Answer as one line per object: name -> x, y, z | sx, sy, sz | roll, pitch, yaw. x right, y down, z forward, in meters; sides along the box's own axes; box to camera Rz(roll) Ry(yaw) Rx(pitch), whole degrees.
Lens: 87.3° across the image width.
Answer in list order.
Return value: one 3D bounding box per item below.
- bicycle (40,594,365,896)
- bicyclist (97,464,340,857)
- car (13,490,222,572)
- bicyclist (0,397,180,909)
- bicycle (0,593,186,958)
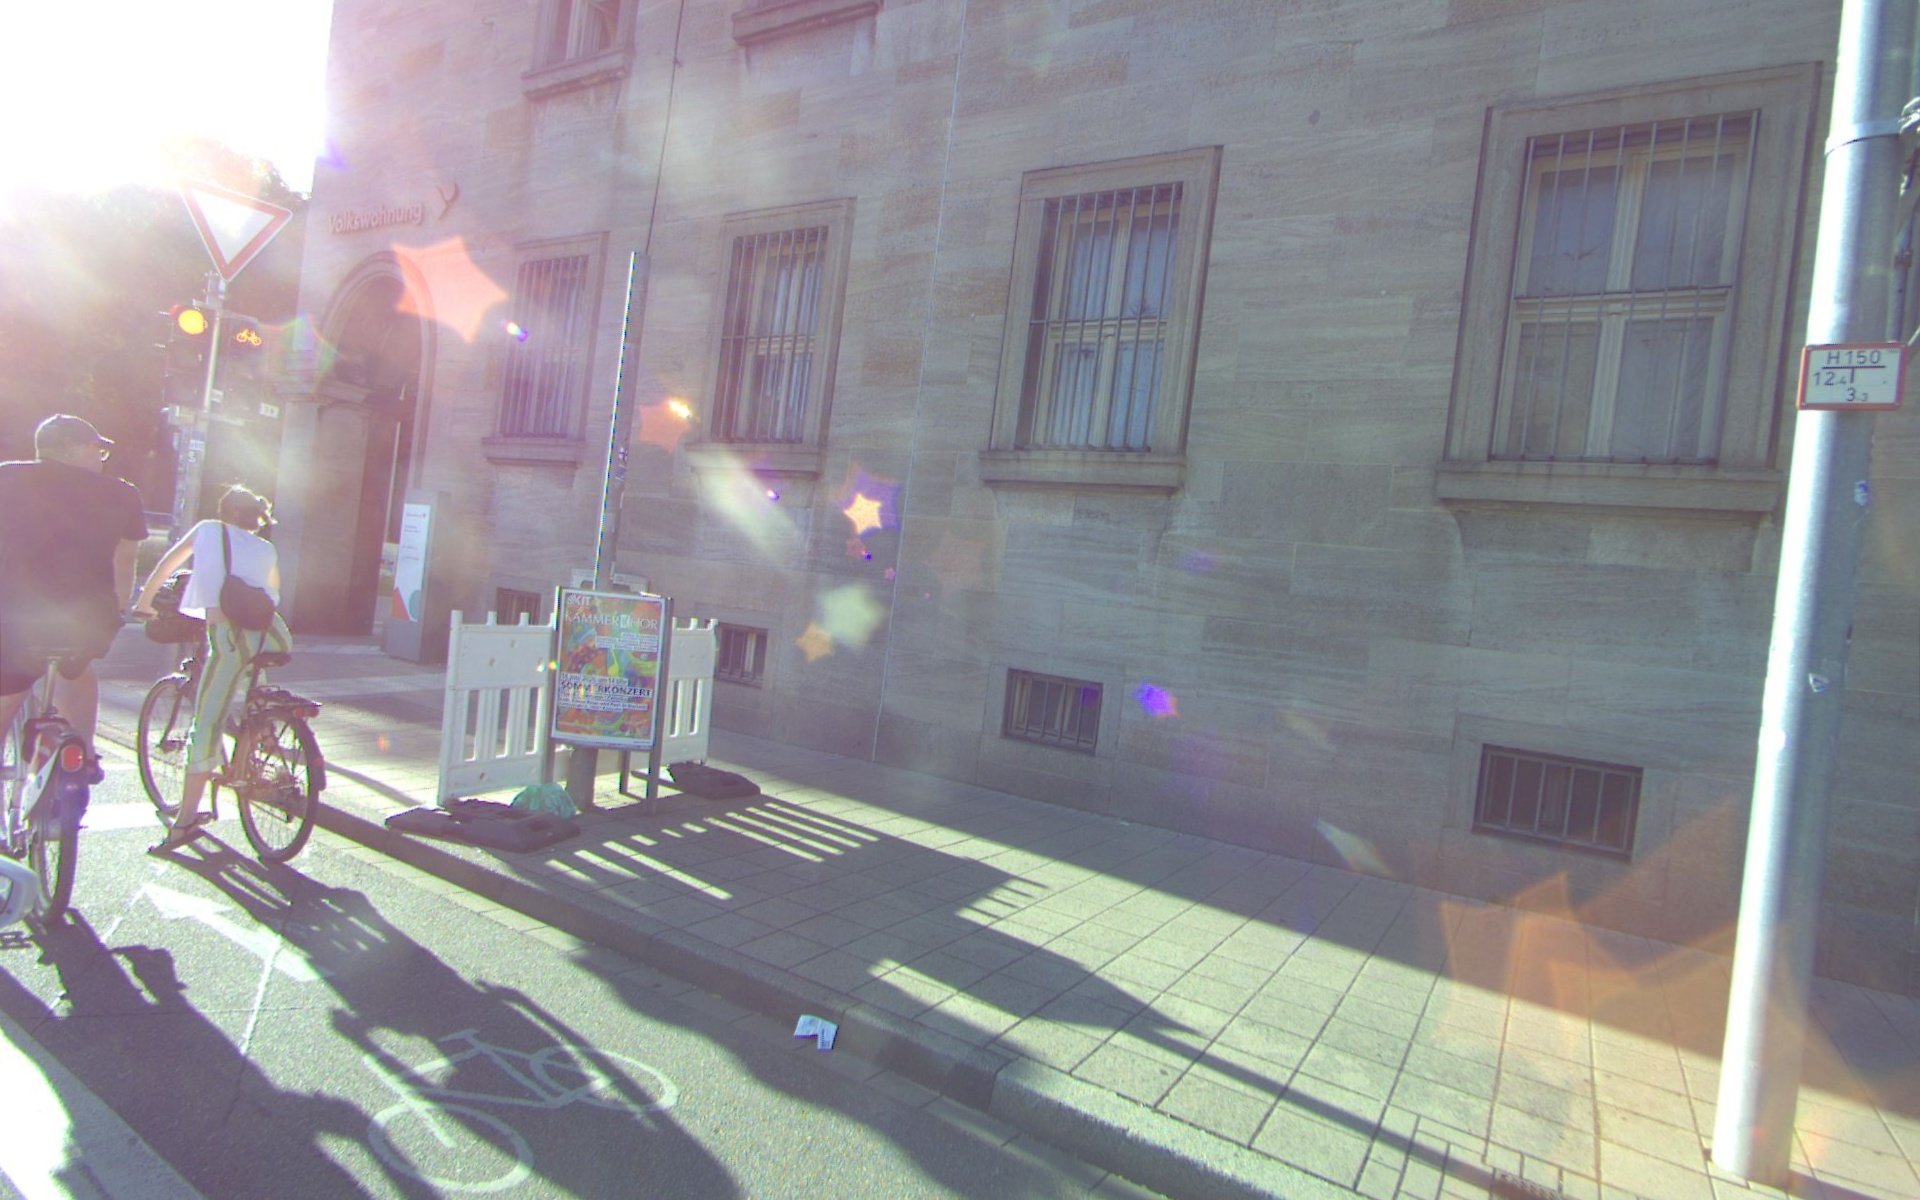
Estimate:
bicycle -> -3.678, 0.623, 4.842 | 1.721, 1.090, 0.535 | 7, -1, 31
bicyclist -> -3.531, 0.268, 4.804 | 0.629, 1.711, 0.558 | 7, -1, 30
car -> -23.066, -1.844, 27.703 | 1.623, 1.630, 3.999 | 7, -1, 31
bicyclist -> -3.545, 0.195, 3.854 | 0.541, 1.820, 0.559 | 7, -1, 33
bicycle -> -3.734, 0.576, 3.924 | 1.700, 1.090, 0.516 | 7, -1, 34
